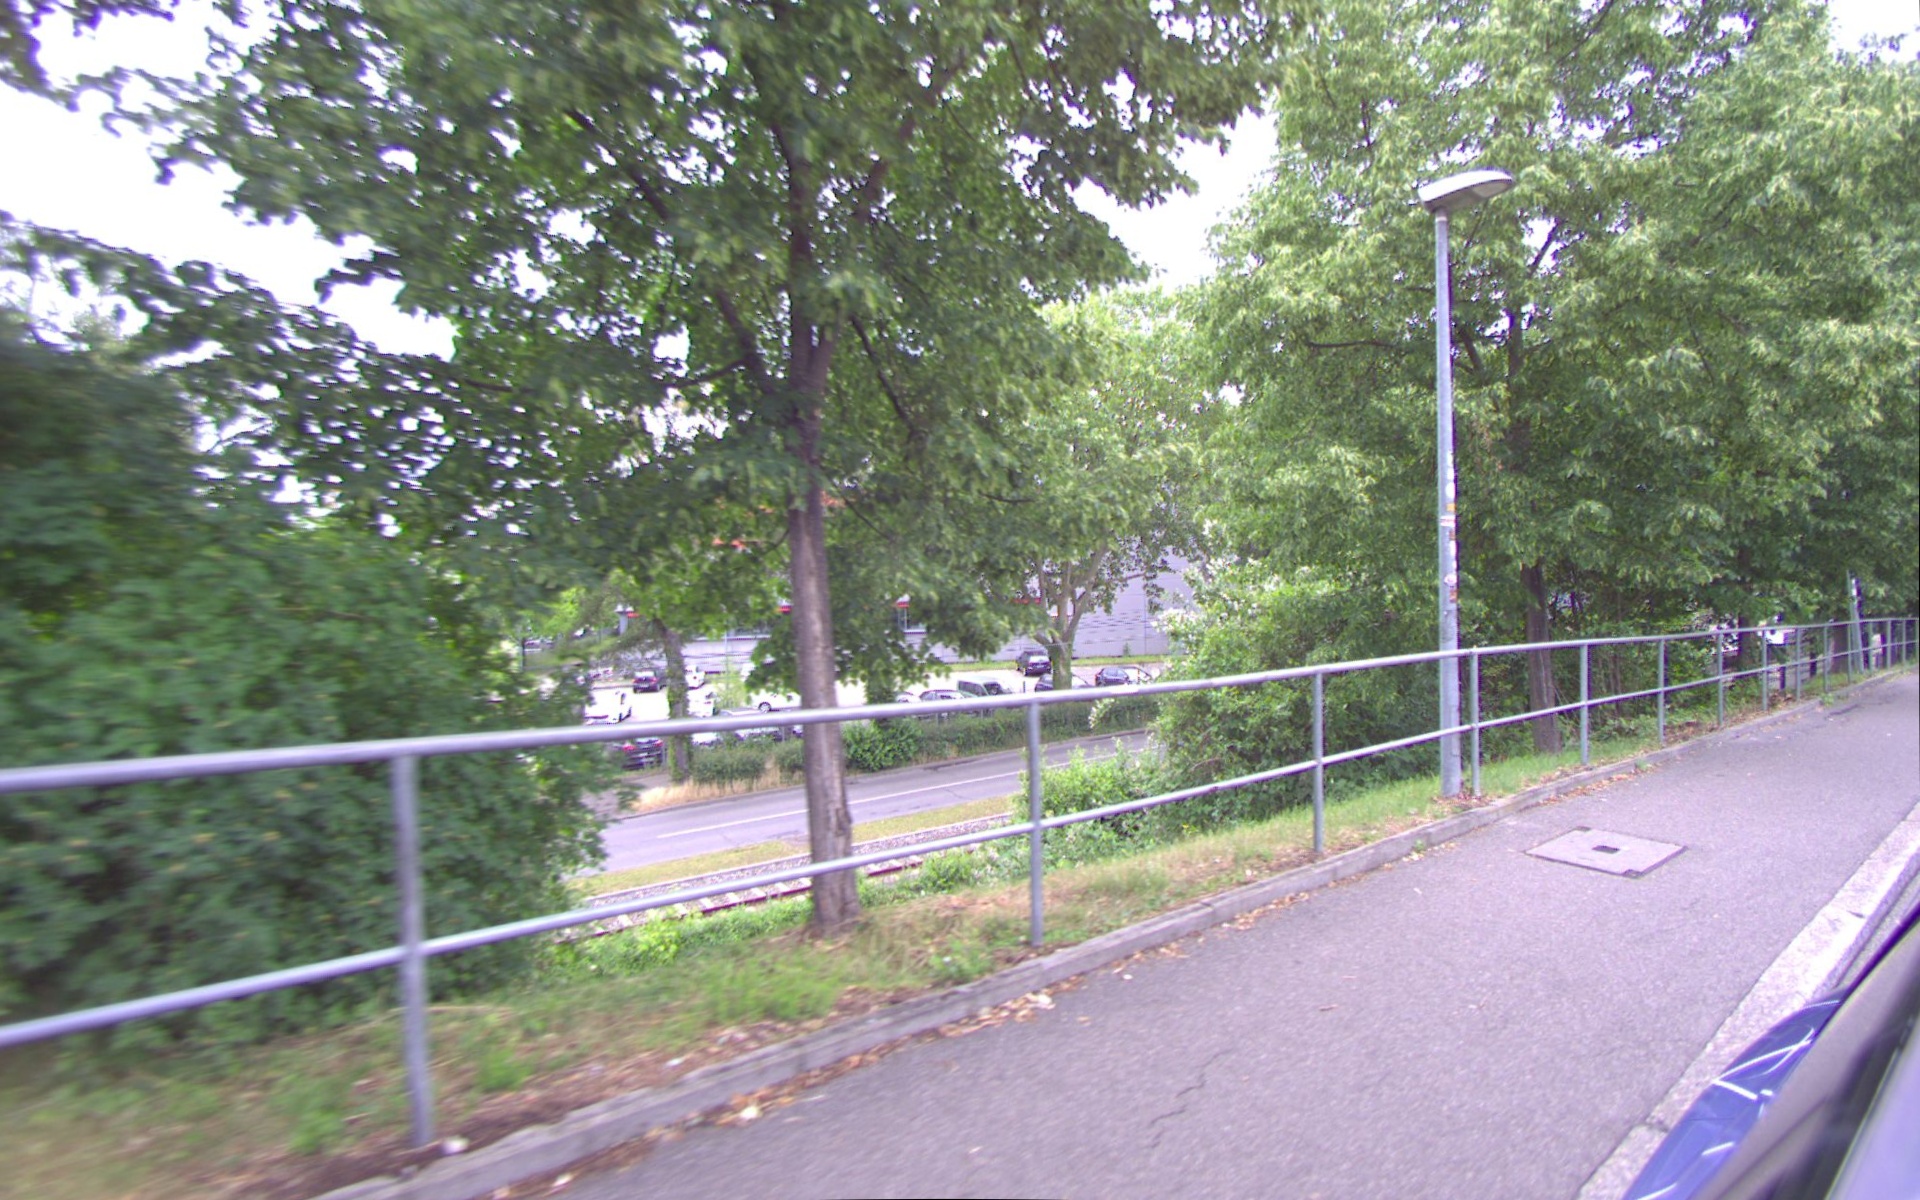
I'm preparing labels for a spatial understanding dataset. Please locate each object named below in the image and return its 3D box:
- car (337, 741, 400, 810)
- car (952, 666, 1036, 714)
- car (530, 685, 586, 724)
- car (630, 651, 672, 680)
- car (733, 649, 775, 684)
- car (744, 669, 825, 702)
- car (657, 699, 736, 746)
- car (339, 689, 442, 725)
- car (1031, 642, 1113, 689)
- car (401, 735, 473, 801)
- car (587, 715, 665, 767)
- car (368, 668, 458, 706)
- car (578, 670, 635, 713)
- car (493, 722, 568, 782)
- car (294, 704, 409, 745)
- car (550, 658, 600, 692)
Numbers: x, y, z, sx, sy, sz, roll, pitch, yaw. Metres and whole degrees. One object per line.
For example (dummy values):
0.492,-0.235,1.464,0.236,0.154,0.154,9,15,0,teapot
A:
-20.786,6.089,35.472,1.790,1.524,4.346,-1,1,-32,car
1.620,4.399,49.994,1.961,1.814,4.586,-1,1,-31,car
-21.144,5.466,53.331,1.958,1.486,4.351,-1,1,-11,car
-19.953,4.194,65.472,1.959,1.486,4.350,-1,1,-8,car
-13.331,4.296,65.788,1.961,1.485,4.351,-1,7,-2,car
-9.582,4.655,55.531,4.255,1.487,2.003,-1,1,-7,car
-11.034,5.050,42.135,1.961,1.487,4.344,-1,-1,-32,car
-29.649,5.582,52.827,4.252,1.487,2.004,-1,1,-12,car
5.739,3.343,52.227,1.964,2.039,3.997,-1,1,-38,car
-18.933,5.985,36.536,1.961,1.487,4.346,-1,1,-32,car
-13.317,5.547,40.189,1.961,1.487,4.344,-1,-1,-32,car
-30.280,4.792,56.094,3.920,1.833,2.002,-1,1,-5,car
-18.630,4.804,53.476,1.959,1.738,4.349,-1,1,-7,car
-16.417,5.724,38.546,1.961,1.487,4.346,-1,1,-32,car
-28.852,5.886,48.104,4.252,1.487,2.004,-1,1,-12,car
-24.908,4.845,65.612,1.960,1.485,4.352,-1,5,-5,car
